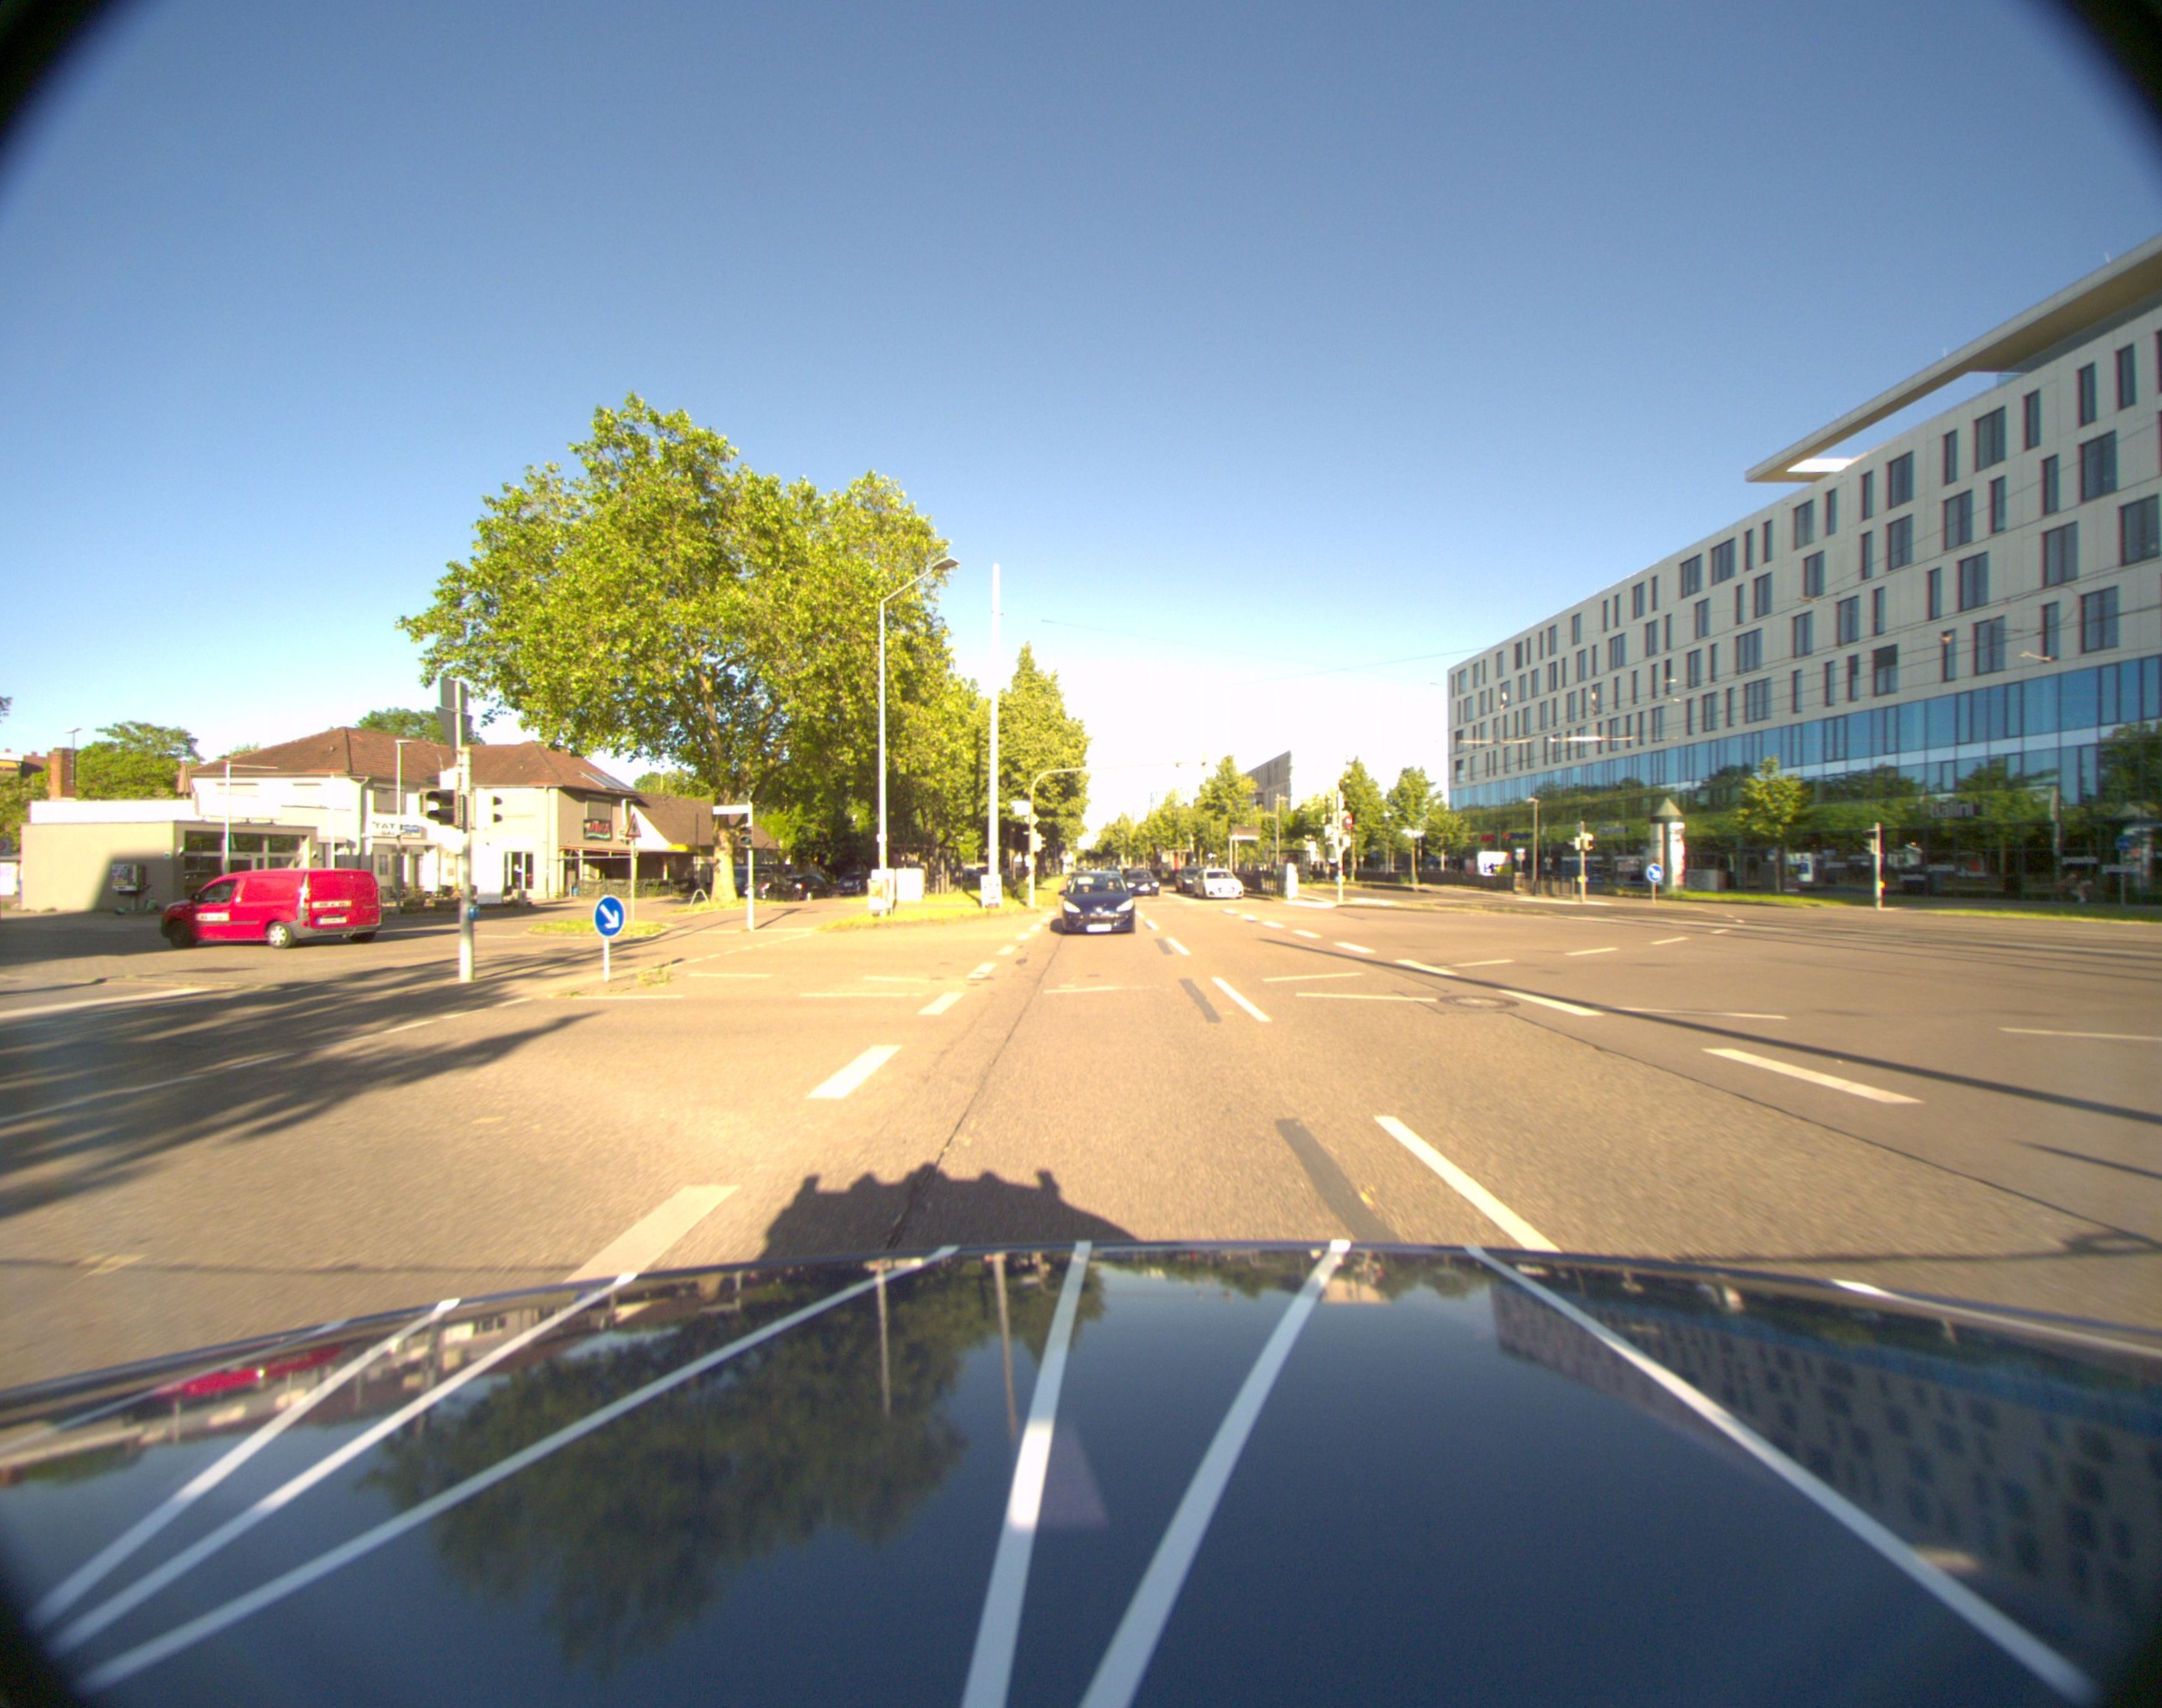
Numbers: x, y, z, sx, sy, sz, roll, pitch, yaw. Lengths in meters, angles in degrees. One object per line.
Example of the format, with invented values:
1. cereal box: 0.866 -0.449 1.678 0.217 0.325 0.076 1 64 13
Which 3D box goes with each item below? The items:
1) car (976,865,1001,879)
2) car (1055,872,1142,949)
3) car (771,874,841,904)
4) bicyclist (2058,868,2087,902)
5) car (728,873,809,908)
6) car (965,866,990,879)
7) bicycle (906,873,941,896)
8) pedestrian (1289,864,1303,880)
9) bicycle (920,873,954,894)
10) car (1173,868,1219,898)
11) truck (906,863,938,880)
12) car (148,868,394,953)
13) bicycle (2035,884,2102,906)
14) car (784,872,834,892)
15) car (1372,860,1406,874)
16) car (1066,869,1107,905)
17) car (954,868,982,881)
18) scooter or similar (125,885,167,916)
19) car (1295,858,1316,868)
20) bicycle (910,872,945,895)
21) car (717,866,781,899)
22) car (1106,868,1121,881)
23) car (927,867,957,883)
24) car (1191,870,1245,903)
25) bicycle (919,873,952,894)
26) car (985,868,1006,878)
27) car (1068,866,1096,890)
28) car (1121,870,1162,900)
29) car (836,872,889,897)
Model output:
1. car: -11.101 2.144 91.710 1.998 1.587 4.657 -1 -1 5
2. car: 0.461 1.245 18.274 1.803 1.517 4.606 -2 -1 2
3. car: -14.220 1.798 39.569 1.898 1.403 4.348 -1 -1 3
4. bicyclist: 41.332 1.300 31.681 0.483 1.414 0.552 0 -1 -8
5. car: -14.324 1.627 35.092 1.898 1.456 4.038 -1 -1 2
6. car: -11.679 2.100 86.330 1.998 1.354 4.867 -1 -1 2
7. bicycle: -8.256 1.587 39.772 1.699 1.162 0.551 -1 0 8
8. pedestrian: 20.055 1.705 70.759 1.068 1.457 0.844 -1 0 4
9. bicycle: -8.166 1.666 43.188 1.807 1.162 0.551 -1 0 3
10. car: 6.491 1.620 43.299 1.803 1.517 4.343 -2 -1 -2
11. truck: -19.910 2.127 95.434 2.454 2.062 6.582 -1 -1 2
12. car: -18.611 1.298 17.549 4.108 1.803 1.857 -1 -3 9
13. bicycle: 41.310 1.704 31.807 0.483 0.857 1.691 0 -1 -8
14. car: -21.456 2.200 60.120 1.898 1.477 4.916 -1 -1 4
15. car: 33.990 1.417 84.032 1.803 1.517 4.343 -2 -1 -2
16. car: 0.325 1.530 36.241 1.803 1.517 4.606 -2 -1 2
17. car: -11.765 2.131 79.412 1.998 1.242 4.656 -1 -1 4
18. scooter or similar: -36.475 1.813 29.655 1.014 1.156 0.261 0 -1 -43
19. car: 33.897 1.380 114.781 1.875 1.347 4.000 -2 -1 0
20. bicycle: -8.264 1.589 40.926 1.700 1.162 0.551 -1 0 2
21. car: -21.858 1.830 50.272 1.898 2.024 5.071 1 -1 2
22. car: 3.822 2.410 89.863 1.675 1.418 4.006 -2 -1 0
23. car: -12.485 1.840 68.509 1.943 1.372 3.914 -1 -1 1
24. car: 6.512 1.525 36.463 1.676 1.418 4.005 -2 -1 -3
25. bicycle: -8.062 1.626 42.138 1.700 1.162 0.551 -1 0 1
26. car: -10.889 2.367 97.177 1.998 1.203 4.115 -1 -1 4
27. car: 0.077 1.649 53.041 1.803 1.517 4.606 -2 -1 1
28. car: 3.333 1.689 42.446 1.803 1.517 4.343 -2 -1 -2
29. car: -13.993 1.930 48.916 1.898 1.479 4.348 -1 -1 4
